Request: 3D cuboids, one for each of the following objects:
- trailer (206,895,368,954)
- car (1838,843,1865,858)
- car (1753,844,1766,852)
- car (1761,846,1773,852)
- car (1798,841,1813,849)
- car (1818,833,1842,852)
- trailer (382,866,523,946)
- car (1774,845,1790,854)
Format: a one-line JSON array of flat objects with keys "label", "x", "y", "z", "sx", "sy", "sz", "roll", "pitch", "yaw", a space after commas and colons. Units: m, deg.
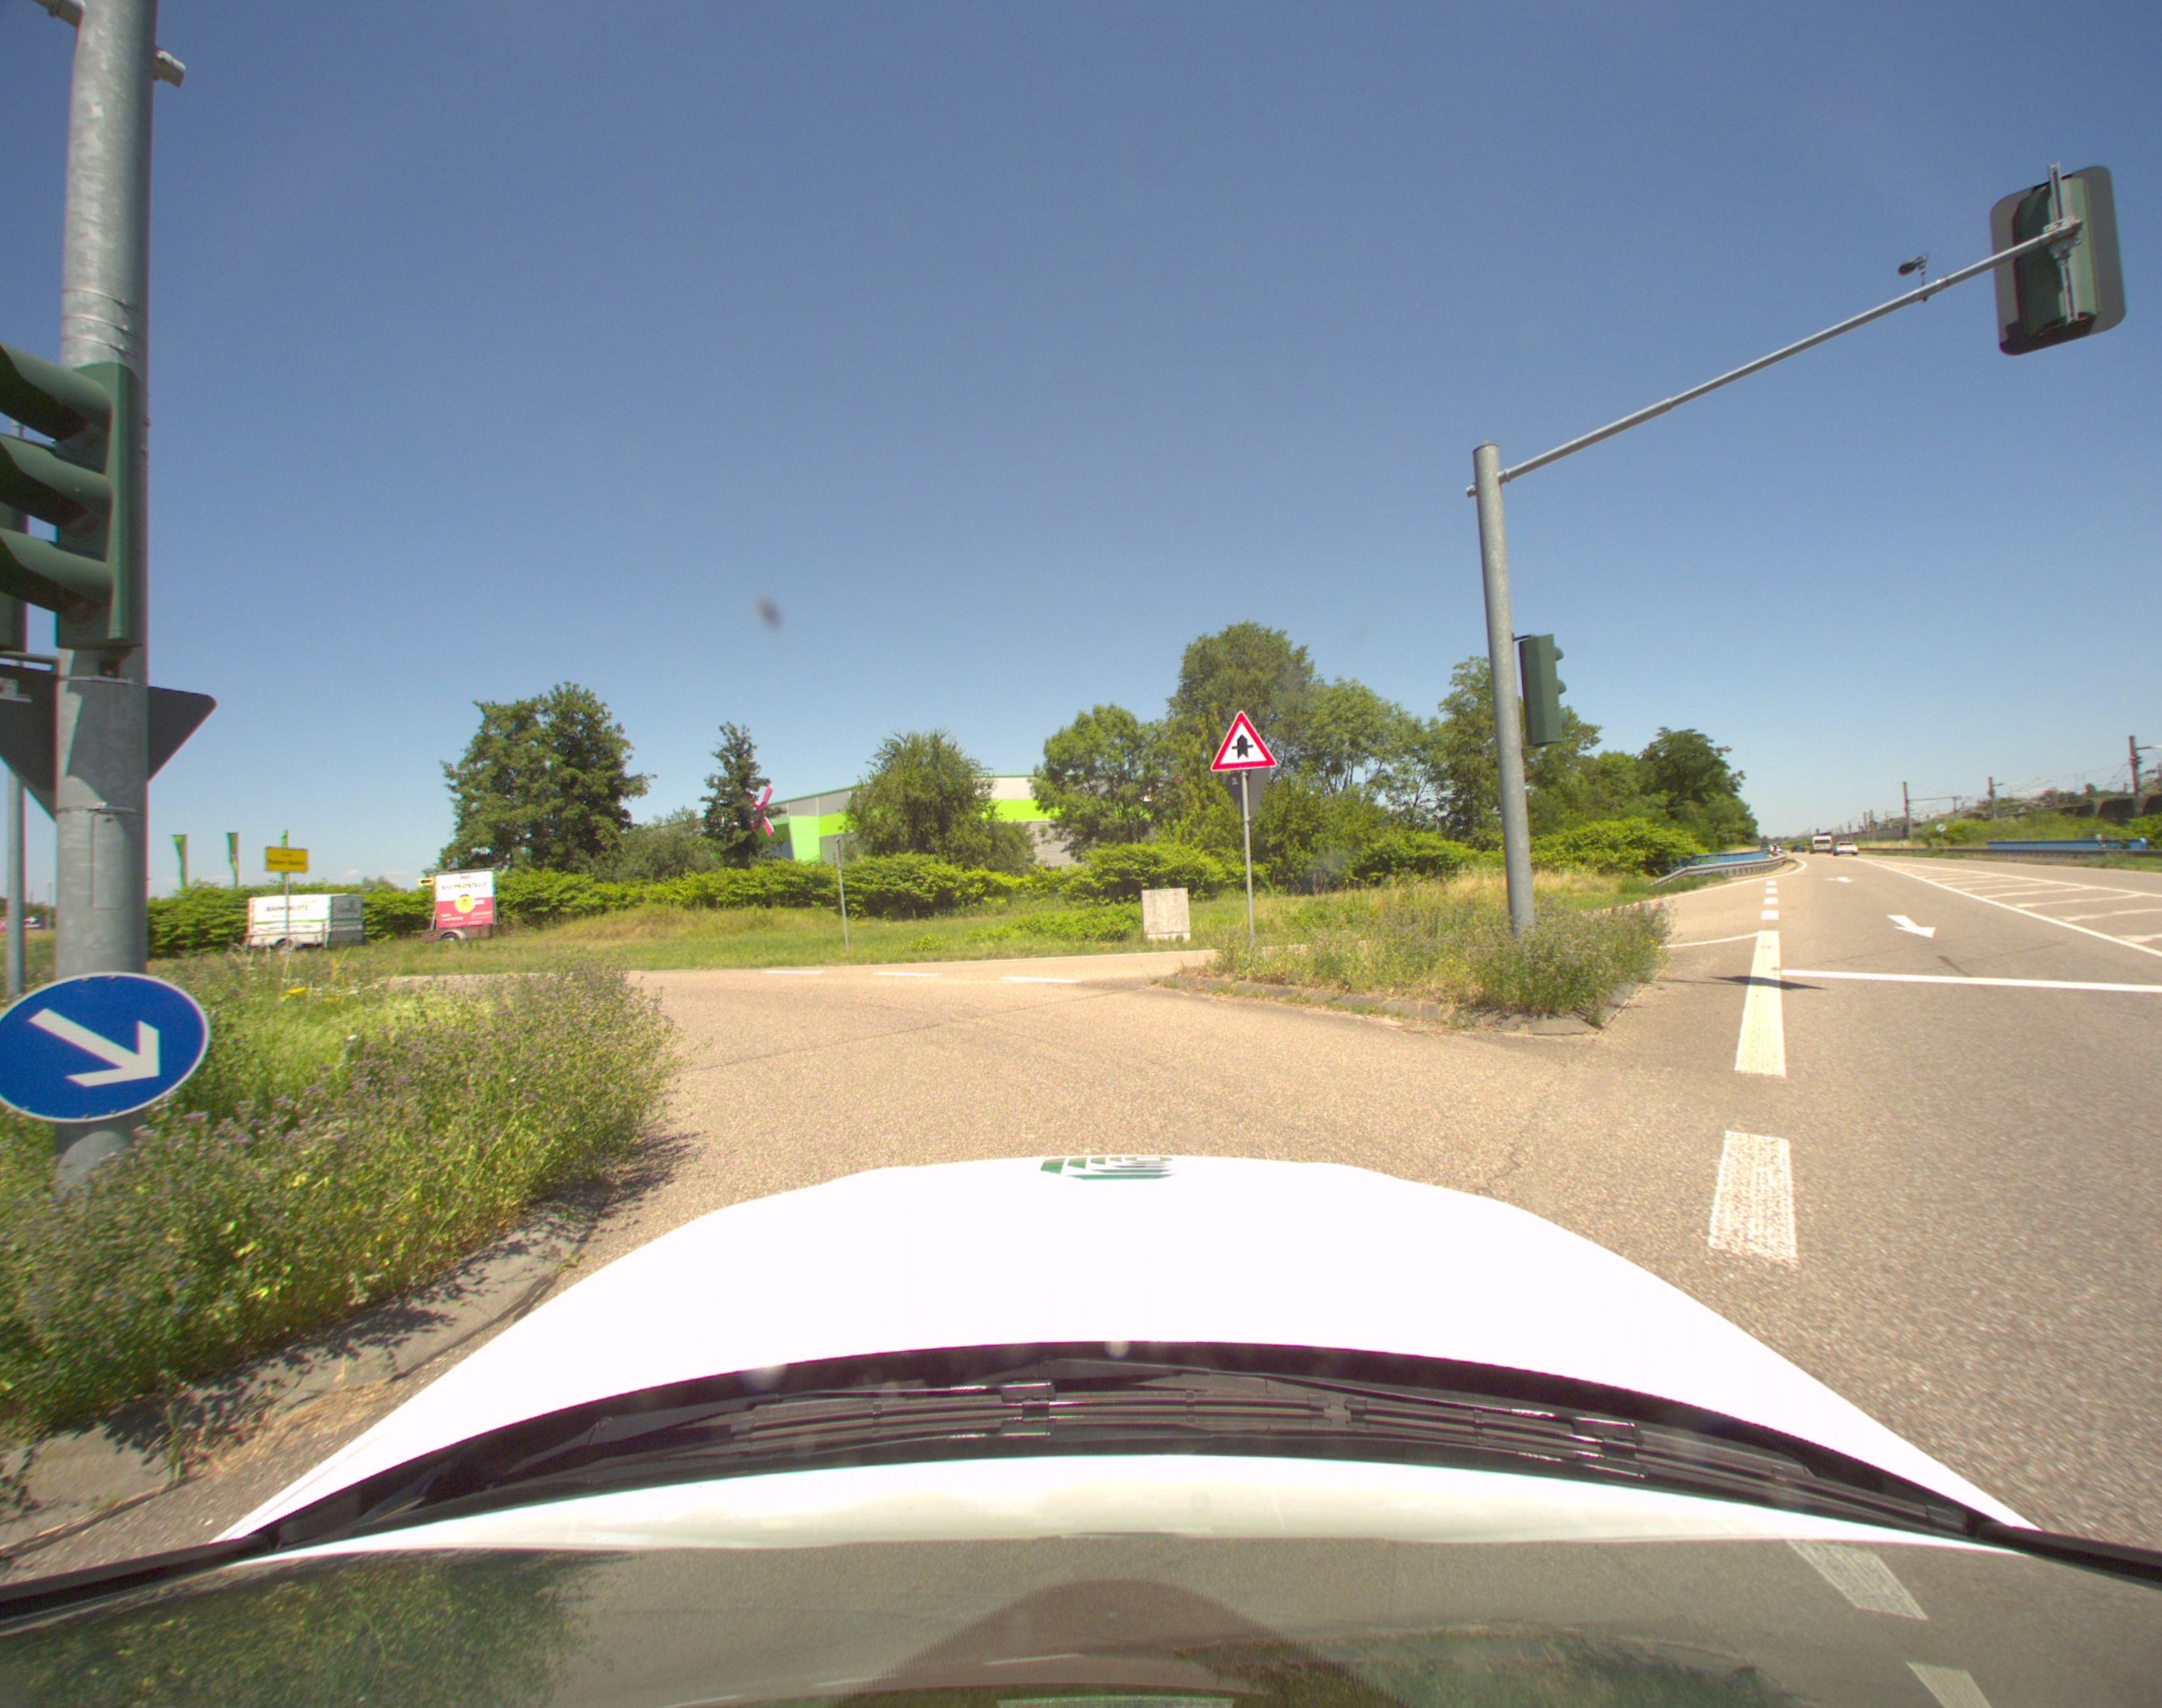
[{"label": "trailer", "x": -27.832, "y": 2.434, "z": 28.664, "sx": 3.739, "sy": 1.791, "sz": 1.824, "roll": -2, "pitch": -2, "yaw": -4}, {"label": "car", "x": 85.148, "y": -0.387, "z": 90.040, "sx": 1.800, "sy": 1.564, "sz": 4.305, "roll": -3, "pitch": -1, "yaw": 39}, {"label": "car", "x": 131.750, "y": -1.178, "z": 158.141, "sx": 1.839, "sy": 1.379, "sz": 4.531, "roll": -2, "pitch": -1, "yaw": 40}, {"label": "car", "x": 150.293, "y": -1.078, "z": 178.450, "sx": 1.839, "sy": 1.379, "sz": 4.531, "roll": -2, "pitch": -1, "yaw": 40}, {"label": "car", "x": 131.438, "y": -1.595, "z": 147.782, "sx": 1.839, "sy": 1.379, "sz": 4.532, "roll": -2, "pitch": -1, "yaw": 39}, {"label": "car", "x": 105.656, "y": -1.631, "z": 114.943, "sx": 2.167, "sy": 2.604, "sz": 6.792, "roll": -2, "pitch": -1, "yaw": 41}, {"label": "trailer", "x": -23.551, "y": 1.917, "z": 30.634, "sx": 3.740, "sy": 2.764, "sz": 1.823, "roll": -2, "pitch": -2, "yaw": -5}, {"label": "car", "x": 114.512, "y": -0.680, "z": 133.120, "sx": 1.839, "sy": 1.379, "sz": 4.531, "roll": -2, "pitch": -1, "yaw": 40}]
